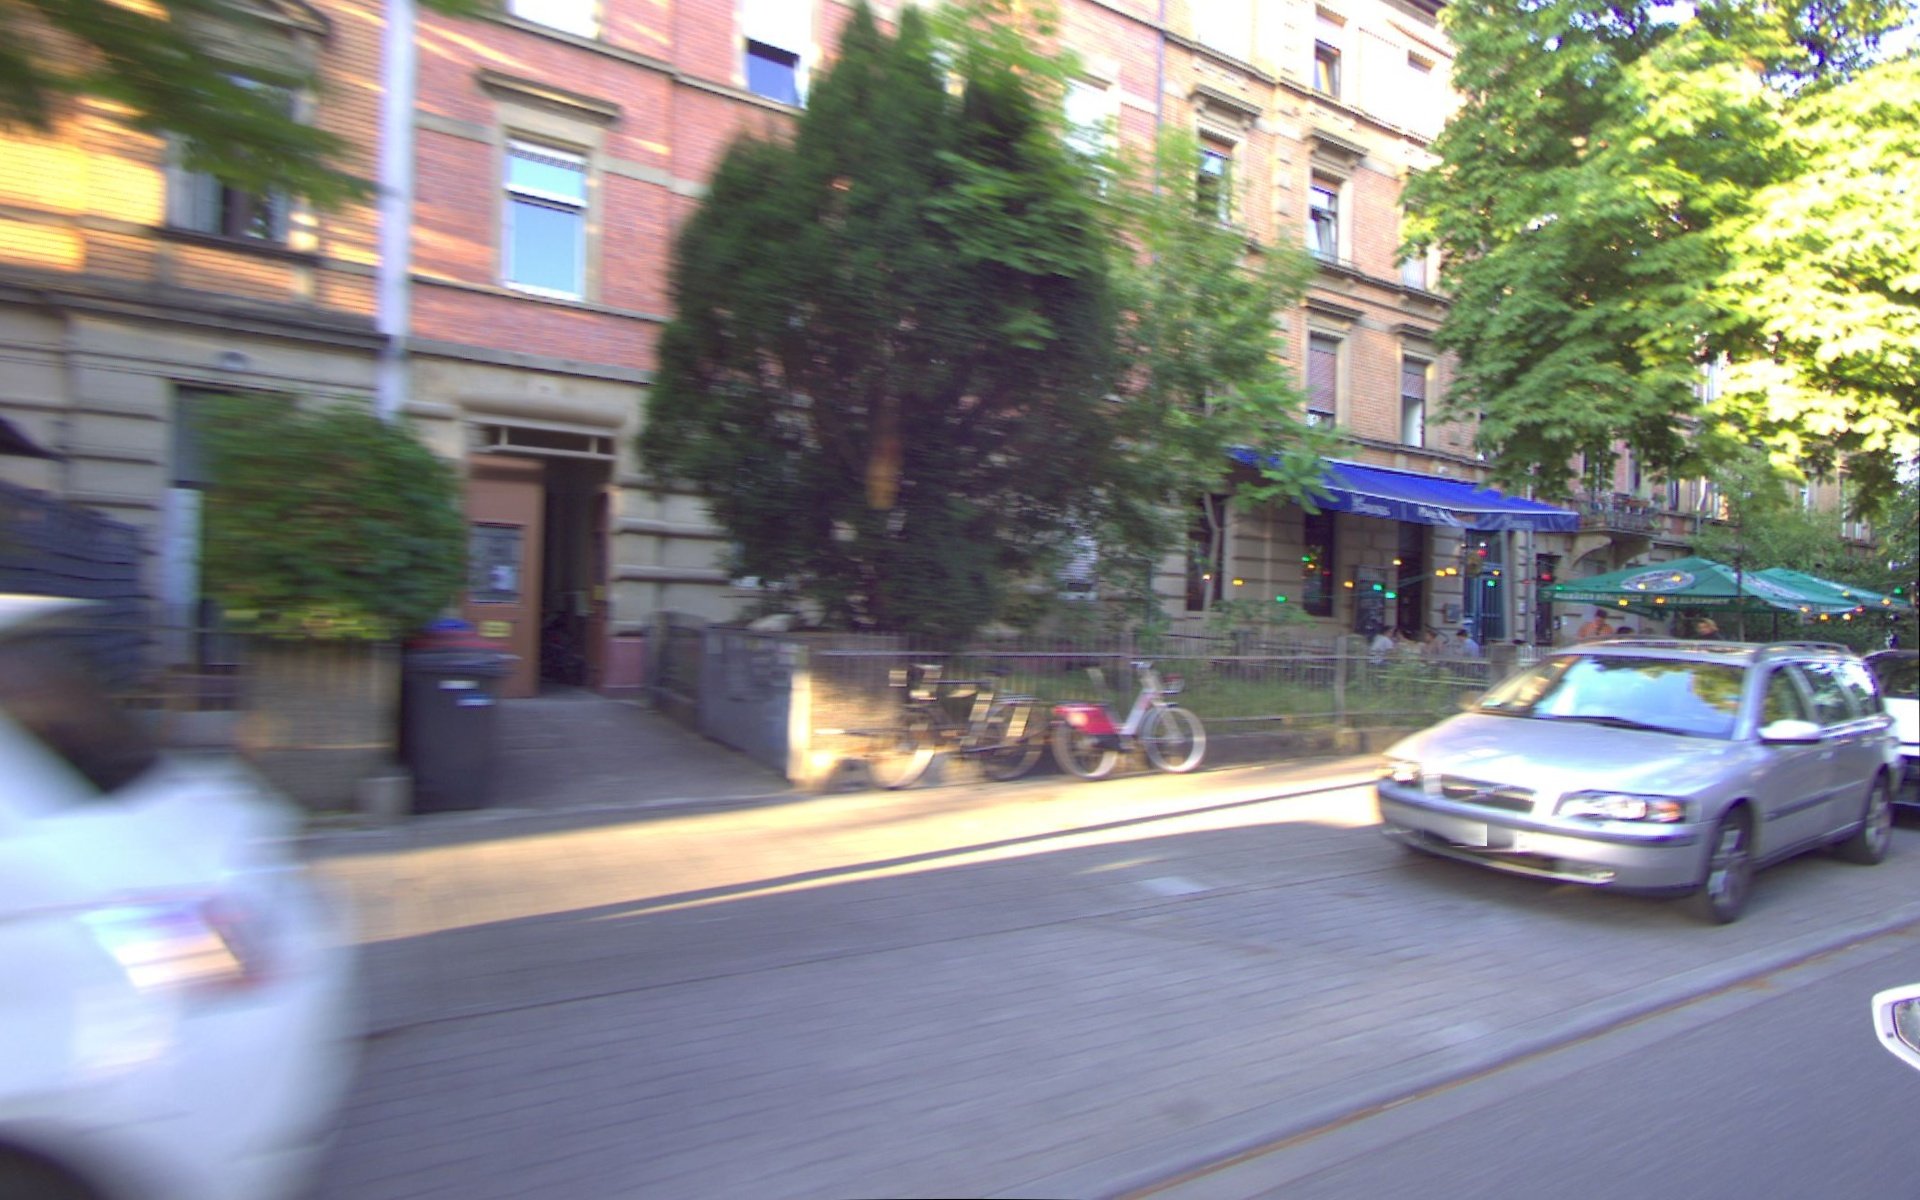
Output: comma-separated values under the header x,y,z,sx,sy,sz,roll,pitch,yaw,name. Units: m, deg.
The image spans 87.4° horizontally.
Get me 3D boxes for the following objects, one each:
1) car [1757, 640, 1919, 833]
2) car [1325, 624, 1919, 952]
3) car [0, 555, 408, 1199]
x,y,z,sx,sy,sz,roll,pitch,yaw,name
9.170,1.167,9.216,3.840,1.455,1.595,2,1,-30,car
4.588,0.931,6.686,4.556,1.430,1.827,2,0,-36,car
-3.006,0.639,1.575,3.669,1.513,1.655,2,1,-32,car
